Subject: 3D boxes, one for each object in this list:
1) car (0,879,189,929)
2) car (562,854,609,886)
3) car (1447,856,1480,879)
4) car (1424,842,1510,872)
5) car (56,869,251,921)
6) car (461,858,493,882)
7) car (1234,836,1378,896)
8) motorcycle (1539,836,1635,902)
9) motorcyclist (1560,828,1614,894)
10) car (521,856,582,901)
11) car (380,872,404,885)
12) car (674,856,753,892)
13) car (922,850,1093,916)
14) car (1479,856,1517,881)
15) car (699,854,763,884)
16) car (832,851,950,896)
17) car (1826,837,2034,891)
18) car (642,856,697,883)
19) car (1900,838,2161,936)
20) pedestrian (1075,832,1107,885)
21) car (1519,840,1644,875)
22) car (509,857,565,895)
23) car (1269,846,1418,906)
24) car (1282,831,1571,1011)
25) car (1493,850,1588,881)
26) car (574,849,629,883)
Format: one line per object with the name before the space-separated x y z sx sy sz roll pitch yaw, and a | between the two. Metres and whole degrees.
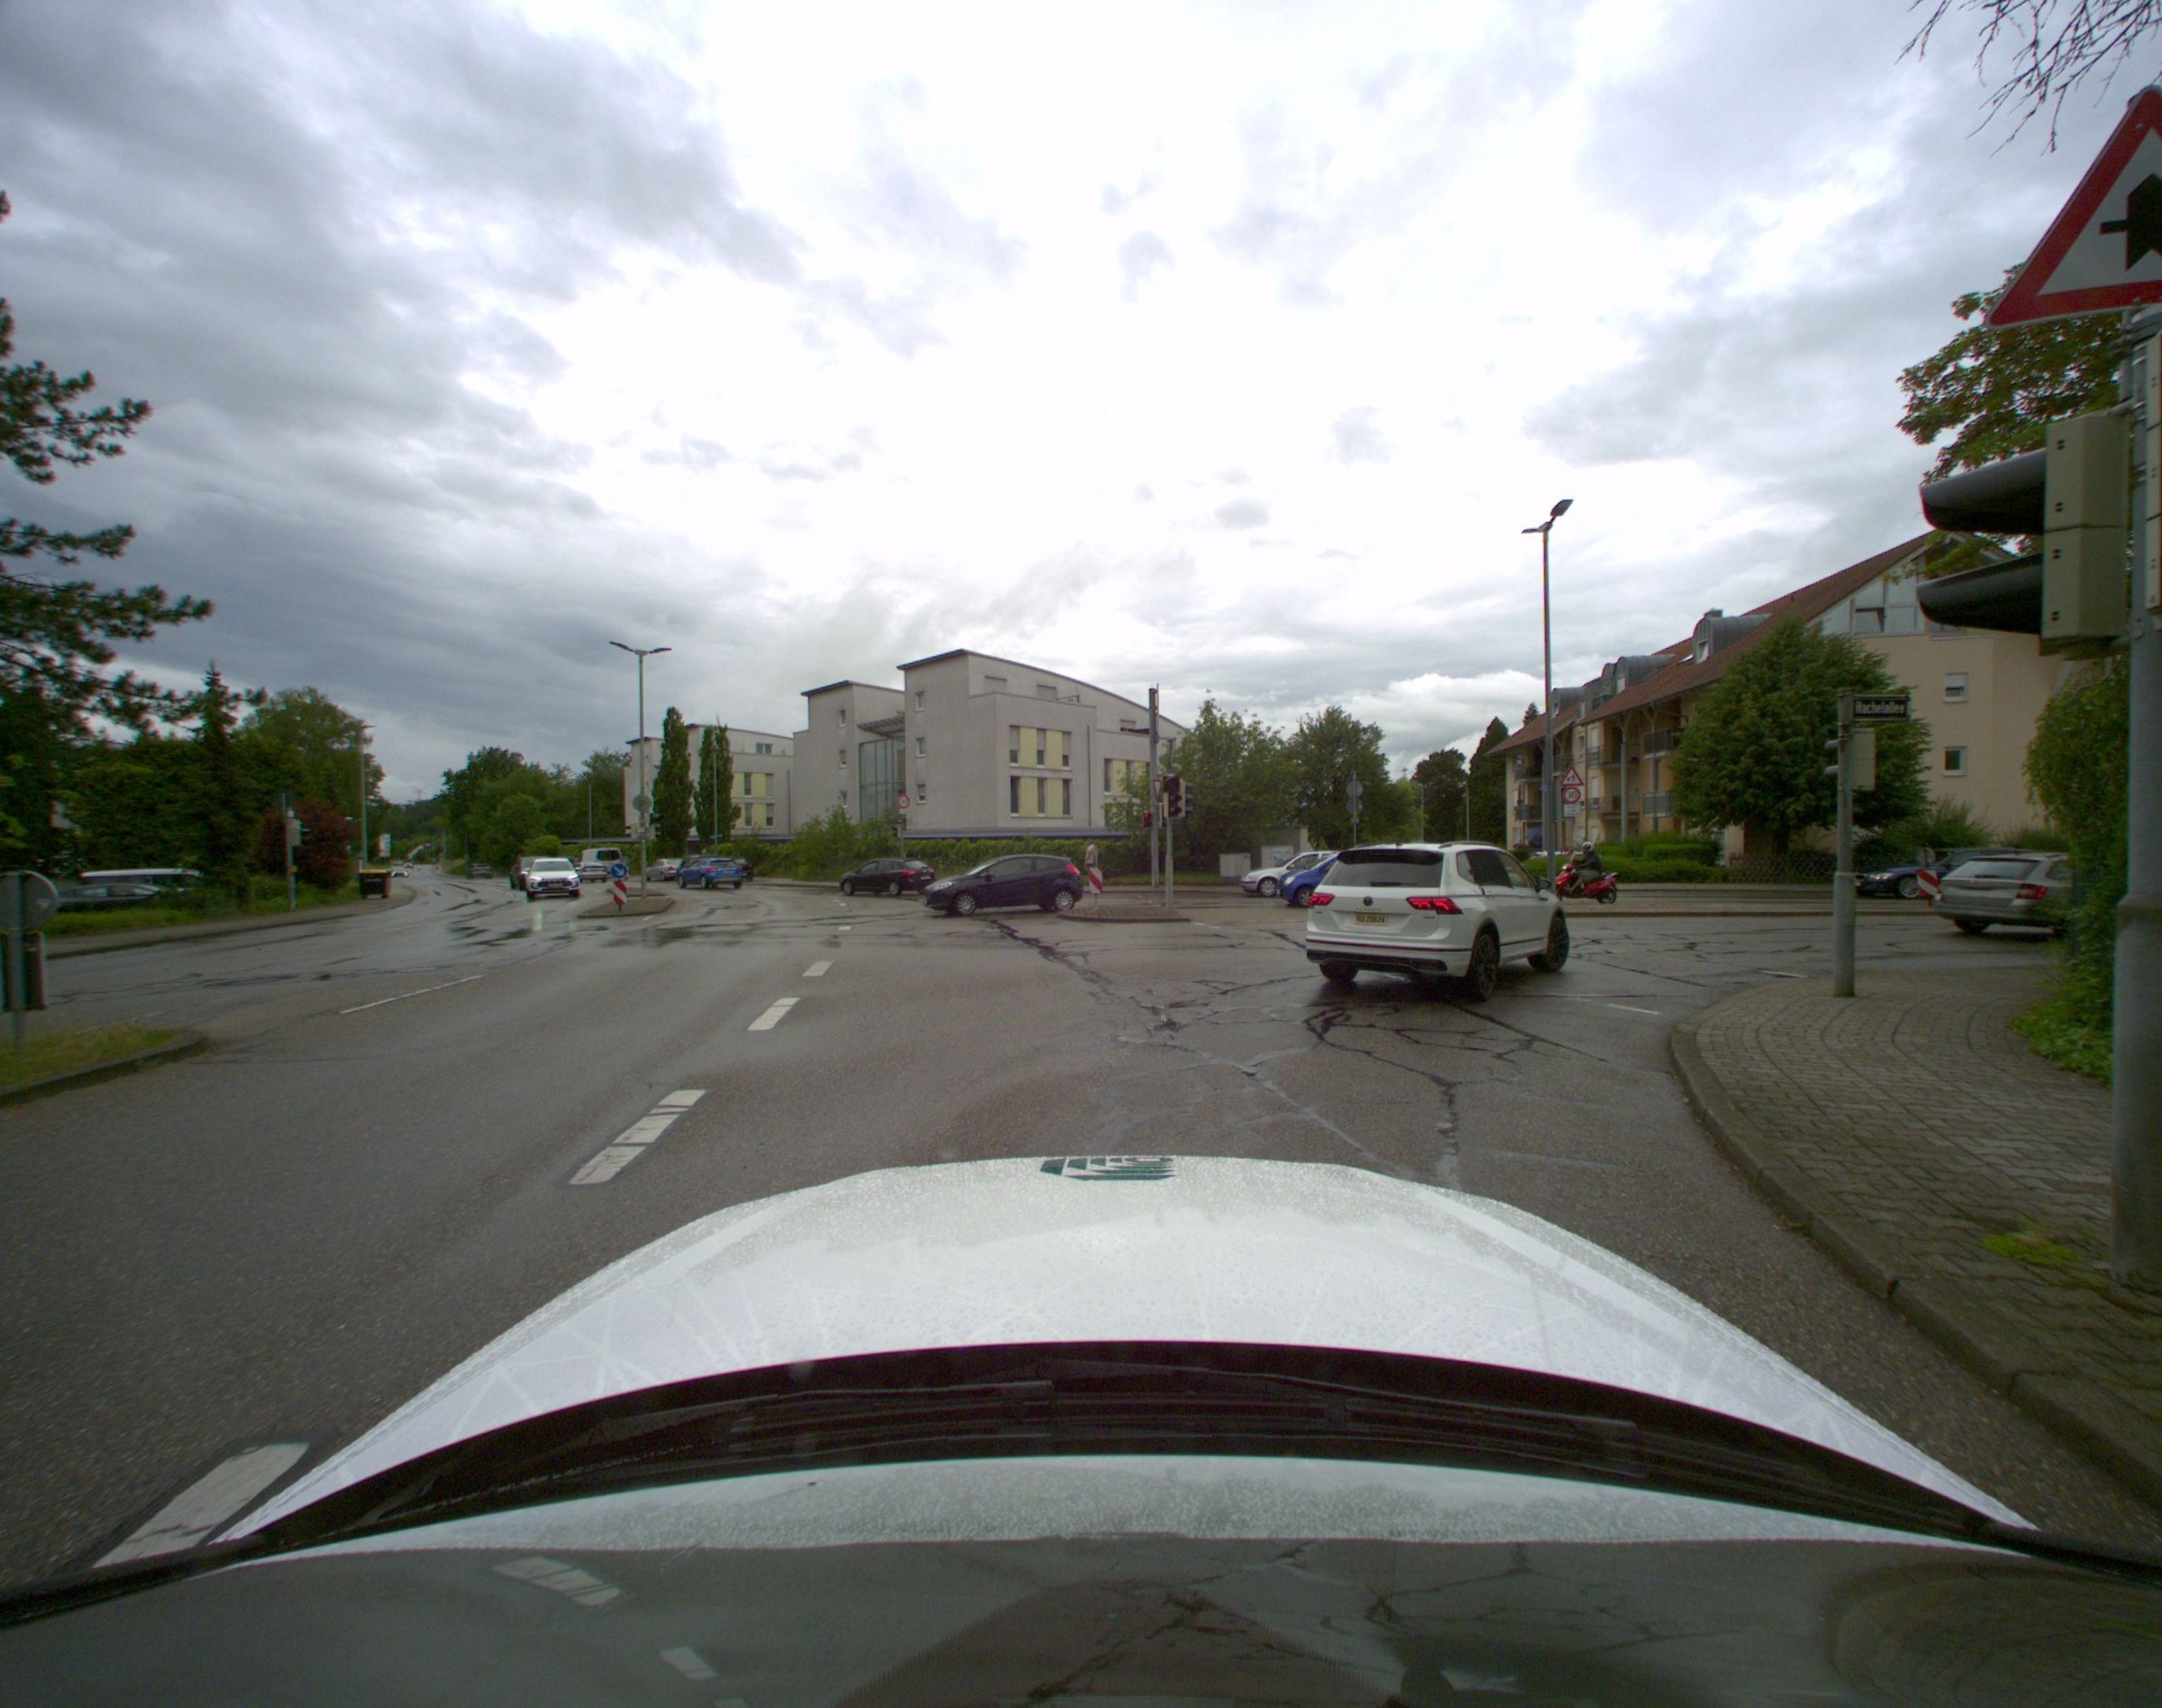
car | -30.671 1.507 25.332 3.602 1.241 1.635 -2 2 -35
car | -33.381 1.020 54.838 2.011 1.757 3.954 -2 5 -41
car | 26.089 0.886 55.595 1.745 1.408 3.883 -2 1 21
car | 31.874 0.191 67.477 5.961 2.200 2.862 1 2 12
car | -31.767 1.345 28.100 4.016 1.464 1.979 -2 2 -35
car | -61.729 1.597 83.224 3.951 2.013 1.993 4 5 44
car | 7.017 0.344 25.728 3.974 1.669 2.001 1 3 0
motorcycle | 12.868 0.387 20.772 1.904 1.624 0.800 -1 0 10
motorcyclist | 12.876 0.174 20.761 0.930 1.624 0.775 -1 0 10
car | -22.189 0.972 34.210 2.007 1.639 3.960 -2 2 -32
car | -100.044 3.548 118.218 3.950 1.455 2.013 5 6 41
car | -18.006 0.926 39.838 3.949 1.555 2.013 0 3 42
car | -1.892 0.667 20.545 3.997 1.500 1.915 0 0 -17
car | 27.004 0.905 52.827 1.745 1.408 3.883 -2 1 21
car | -20.327 0.823 47.193 3.950 1.555 2.012 0 3 45
car | -7.244 0.715 31.088 3.950 1.551 2.012 -1 3 27
car | 24.240 0.271 23.328 4.328 1.435 1.758 1 0 -4
car | -27.158 0.995 53.722 3.950 1.555 2.012 0 3 45
car | 17.124 0.534 14.204 3.978 1.509 1.770 1 3 -3
pedestrian | 0.392 0.165 31.348 0.791 2.013 0.855 0 2 39
car | 20.933 0.157 34.251 4.156 1.439 1.831 -1 0 17
car | -29.949 1.163 44.800 2.011 1.815 3.953 -3 2 -41
car | 6.735 0.547 21.139 3.415 1.456 1.526 0 2 3
car | 4.406 0.598 10.005 1.903 1.722 4.291 0 1 43
car | 22.991 0.583 40.897 3.820 1.408 1.774 -1 1 16
car | -38.106 0.970 64.627 2.615 2.413 5.192 -3 0 -43
